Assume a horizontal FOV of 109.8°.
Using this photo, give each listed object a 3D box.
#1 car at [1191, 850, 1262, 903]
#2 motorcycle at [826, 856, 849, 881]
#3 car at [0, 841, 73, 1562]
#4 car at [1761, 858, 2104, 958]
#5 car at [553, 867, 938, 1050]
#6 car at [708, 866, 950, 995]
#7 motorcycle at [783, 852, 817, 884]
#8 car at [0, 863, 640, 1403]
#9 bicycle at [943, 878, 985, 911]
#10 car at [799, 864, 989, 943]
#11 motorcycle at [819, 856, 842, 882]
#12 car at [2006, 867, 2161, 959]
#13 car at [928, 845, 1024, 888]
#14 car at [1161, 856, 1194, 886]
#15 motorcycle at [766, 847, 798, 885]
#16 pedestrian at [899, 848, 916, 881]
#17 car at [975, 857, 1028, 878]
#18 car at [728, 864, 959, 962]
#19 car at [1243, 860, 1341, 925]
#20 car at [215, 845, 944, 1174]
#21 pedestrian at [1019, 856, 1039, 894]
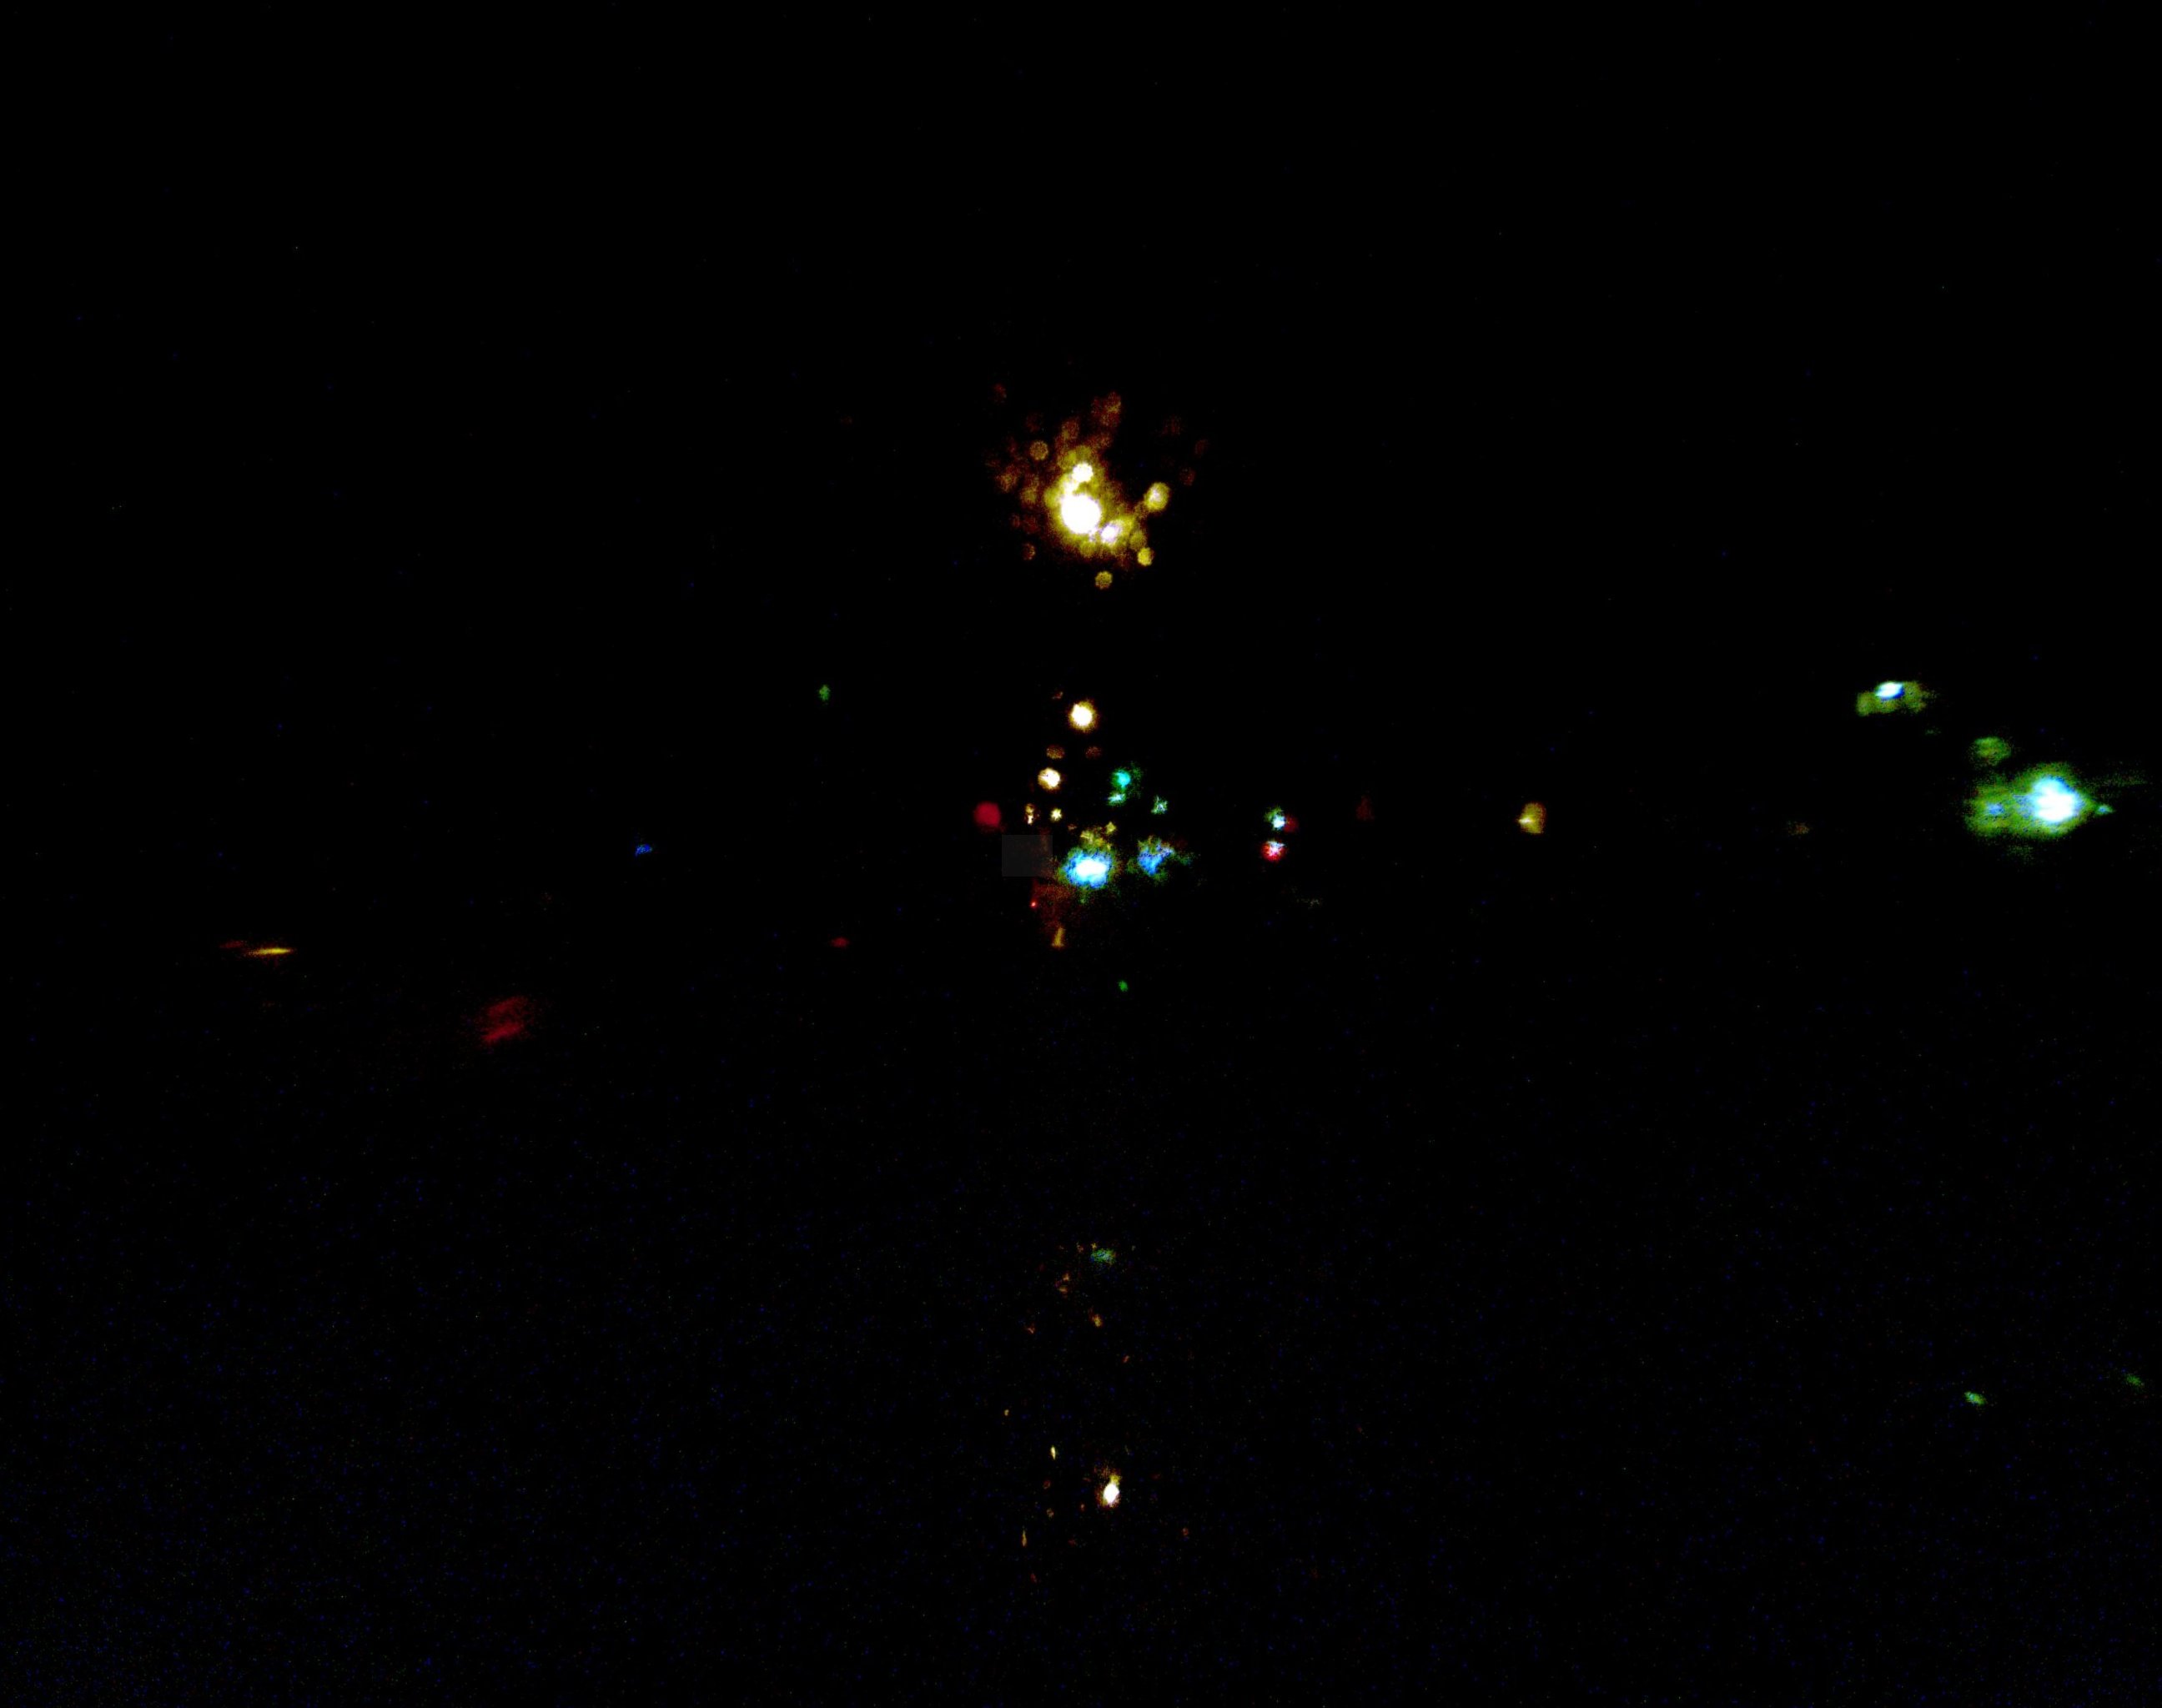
[{"bbox_3d":[5.407,0.777,28.846,1.871,1.835,4.827,0,0,1],"label":"car"},{"bbox_3d":[-10.881,0.645,34.031,0.524,1.061,1.624,-1,0,-2],"label":"motorcycle"},{"bbox_3d":[-3.933,0.841,0.327,3.809,1.718,1.737,-1,0,-30],"label":"car"},{"bbox_3d":[14.369,0.873,13.000,3.943,1.562,1.717,0,0,0],"label":"car"},{"bbox_3d":[-3.589,1.007,8.600,3.569,1.601,1.710,-2,0,-21],"label":"car"},{"bbox_3d":[-3.572,0.999,10.931,3.051,1.543,1.502,-2,0,-21],"label":"car"},{"bbox_3d":[-11.021,0.549,29.856,0.524,1.200,2.125,-1,0,-1],"label":"motorcycle"},{"bbox_3d":[-4.110,0.907,2.941,4.068,1.601,1.840,-2,0,-29],"label":"car"},{"bbox_3d":[-3.541,1.226,23.060,1.214,0.942,0.302,2,0,-3],"label":"bicycle"},{"bbox_3d":[-4.016,1.004,16.317,3.717,1.514,1.653,1,0,-25],"label":"car"},{"bbox_3d":[-10.559,0.614,32.073,0.524,1.061,2.056,-1,0,-7],"label":"motorcycle"},{"bbox_3d":[19.086,0.967,13.117,3.997,1.440,1.855,0,0,0],"label":"car"},{"bbox_3d":[-5.993,0.679,43.530,4.951,2.327,2.226,0,0,-34],"label":"car"},{"bbox_3d":[5.598,0.972,44.452,1.816,1.660,4.413,-1,0,6],"label":"car"},{"bbox_3d":[-10.674,0.425,27.181,0.524,1.311,2.124,-1,0,-6],"label":"motorcycle"},{"bbox_3d":[-9.988,0.609,43.778,0.747,1.829,0.843,1,-2,-1],"label":"pedestrian"},{"bbox_3d":[-6.402,1.065,61.096,3.809,1.679,1.831,1,0,-31],"label":"car"},{"bbox_3d":[-4.209,0.969,13.506,3.717,1.514,1.653,1,0,-25],"label":"car"},{"bbox_3d":[5.312,0.916,19.500,1.550,1.434,3.563,-3,0,2],"label":"car"},{"bbox_3d":[-3.376,0.871,5.992,4.112,1.754,1.855,-2,0,-27],"label":"car"},{"bbox_3d":[-2.426,0.977,35.507,0.824,1.760,1.177,0,0,0],"label":"pedestrian"}]
